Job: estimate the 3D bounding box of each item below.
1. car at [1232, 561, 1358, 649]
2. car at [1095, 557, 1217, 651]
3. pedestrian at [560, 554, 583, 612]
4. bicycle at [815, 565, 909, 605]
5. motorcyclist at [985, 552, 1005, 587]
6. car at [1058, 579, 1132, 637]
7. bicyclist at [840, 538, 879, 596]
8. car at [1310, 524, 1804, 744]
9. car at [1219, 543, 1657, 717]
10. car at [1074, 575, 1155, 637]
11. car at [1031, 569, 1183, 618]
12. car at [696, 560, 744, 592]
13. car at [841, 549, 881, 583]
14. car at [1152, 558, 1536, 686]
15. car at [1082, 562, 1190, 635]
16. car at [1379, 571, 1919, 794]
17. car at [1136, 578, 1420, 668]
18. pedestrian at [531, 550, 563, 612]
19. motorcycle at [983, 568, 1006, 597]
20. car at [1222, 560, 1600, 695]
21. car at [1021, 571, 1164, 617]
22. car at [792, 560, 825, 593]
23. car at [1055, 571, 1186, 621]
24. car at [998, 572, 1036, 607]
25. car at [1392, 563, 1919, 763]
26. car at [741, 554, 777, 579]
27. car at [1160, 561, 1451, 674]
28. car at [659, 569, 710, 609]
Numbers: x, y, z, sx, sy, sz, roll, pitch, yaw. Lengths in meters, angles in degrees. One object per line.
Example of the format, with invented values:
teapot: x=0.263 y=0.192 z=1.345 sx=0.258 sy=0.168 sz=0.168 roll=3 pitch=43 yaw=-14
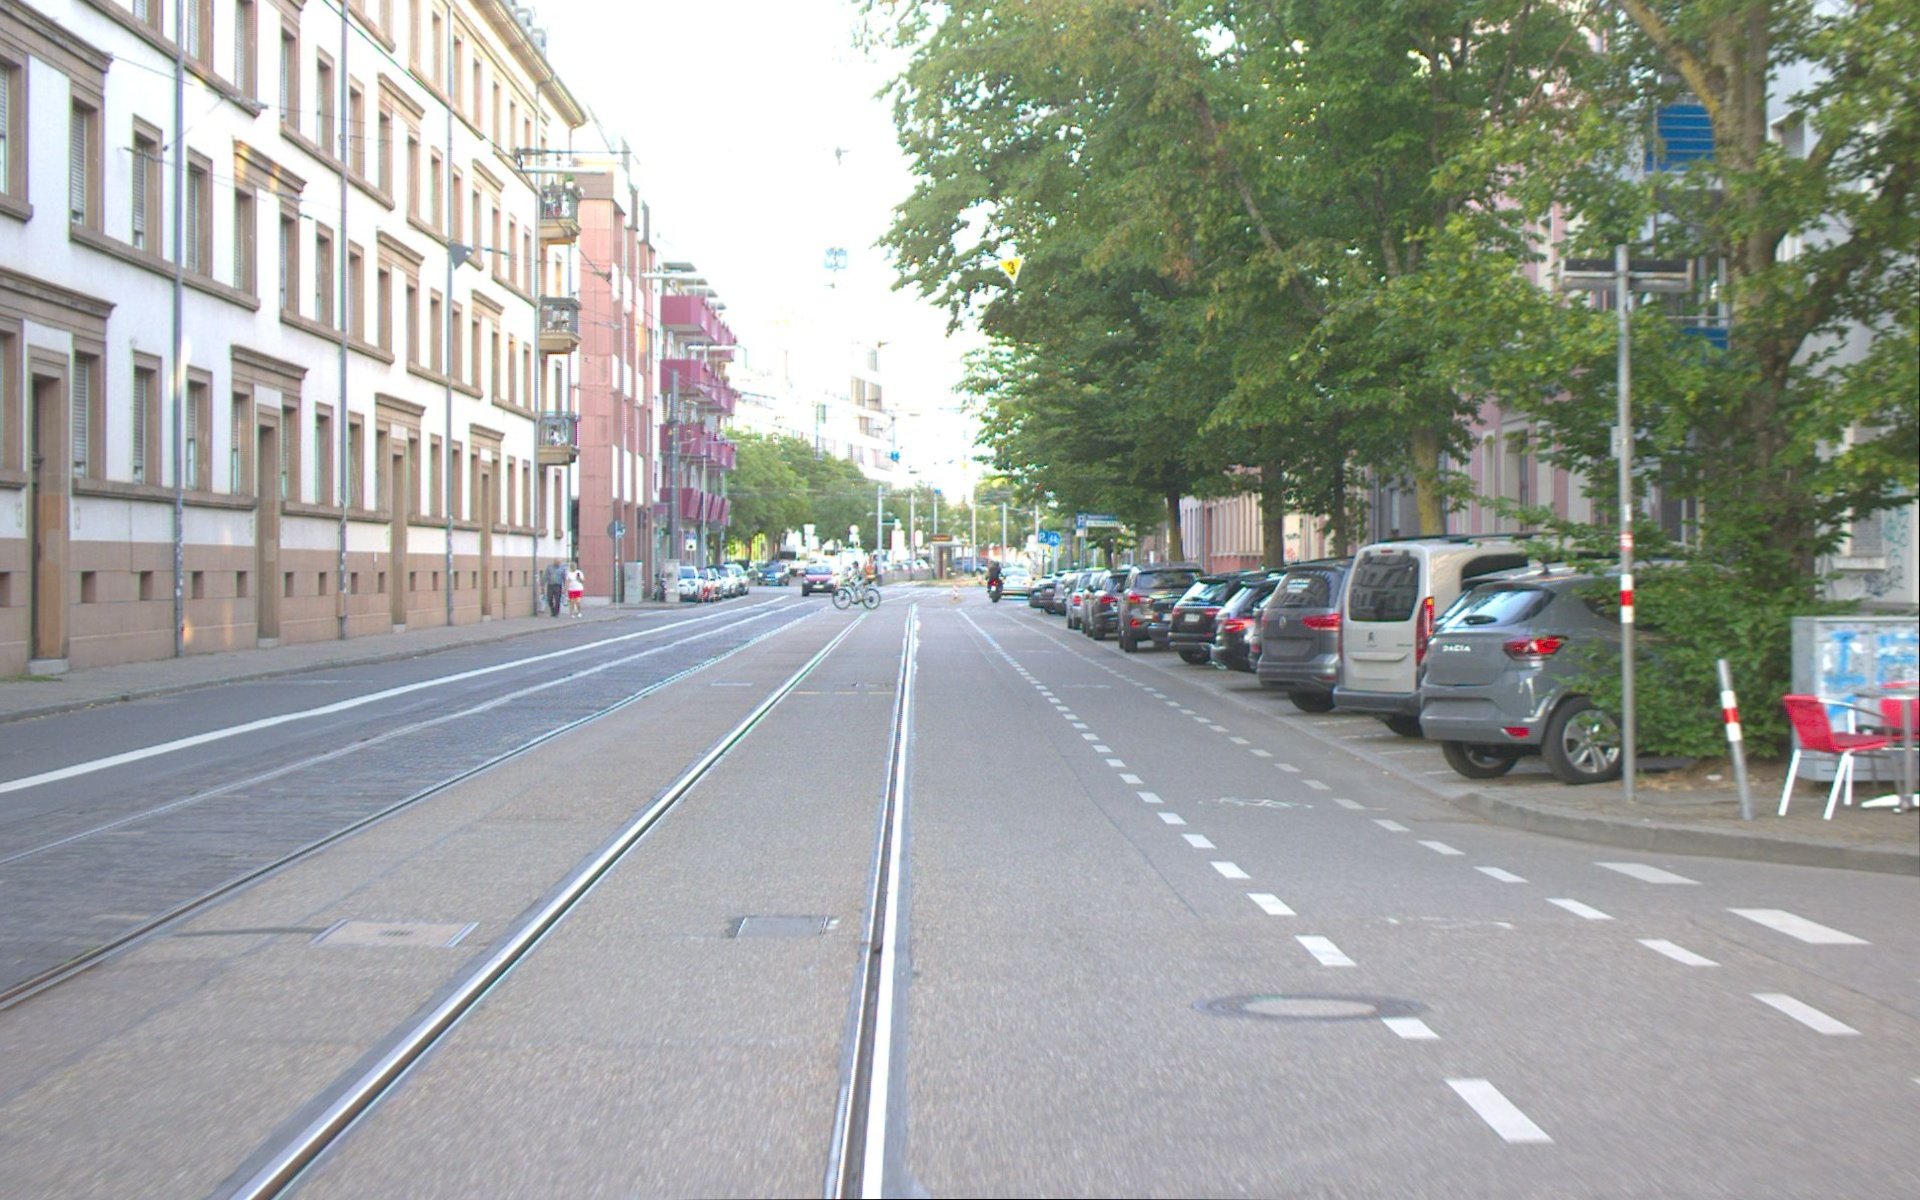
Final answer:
car: x=6.214 y=0.069 z=64.078 sx=1.879 sy=1.578 sz=4.021 roll=0 pitch=1 yaw=-1
car: x=3.606 y=0.051 z=63.964 sx=1.879 sy=1.612 sz=4.262 roll=-2 pitch=1 yaw=-1
pedestrian: x=-10.776 y=-0.478 z=95.423 sx=0.590 sy=1.604 sz=0.811 roll=0 pitch=0 yaw=-3
bicycle: x=-3.406 y=-0.521 z=119.603 sx=3.170 sy=1.349 sz=0.958 roll=0 pitch=0 yaw=-9
motorcyclist: x=1.492 y=-1.310 z=147.136 sx=0.828 sy=1.468 sz=1.207 roll=0 pitch=0 yaw=3
car: x=3.358 y=0.174 z=86.252 sx=1.619 sy=1.376 sz=3.776 roll=-2 pitch=0 yaw=-1
bicyclist: x=-3.495 y=-1.157 z=119.582 sx=1.214 sy=2.007 sz=0.947 roll=-1 pitch=1 yaw=-9
car: x=5.355 y=0.260 z=30.893 sx=3.986 sy=1.809 sz=1.825 roll=-2 pitch=1 yaw=-22
car: x=5.024 y=0.278 z=36.192 sx=4.177 sy=1.690 sz=1.847 roll=-1 pitch=1 yaw=-21
car: x=3.599 y=0.116 z=80.692 sx=1.780 sy=1.376 sz=4.691 roll=-2 pitch=0 yaw=2
car: x=4.779 y=-0.221 z=111.595 sx=4.443 sy=1.511 sz=2.064 roll=-1 pitch=1 yaw=-23
car: x=-11.192 y=-1.132 z=160.520 sx=1.691 sy=1.409 sz=4.676 roll=2 pitch=0 yaw=2
car: x=-7.167 y=-2.460 z=248.898 sx=2.461 sy=2.474 sz=5.808 roll=0 pitch=1 yaw=3
car: x=4.732 y=0.239 z=42.438 sx=4.376 sy=1.459 sz=1.720 roll=-1 pitch=1 yaw=-18
car: x=3.699 y=-0.048 z=73.110 sx=1.993 sy=1.484 sz=5.036 roll=-1 pitch=0 yaw=0
car: x=5.280 y=0.570 z=25.244 sx=3.986 sy=1.535 sz=1.780 roll=0 pitch=1 yaw=-20
car: x=5.039 y=0.347 z=54.464 sx=4.248 sy=1.383 sz=1.621 roll=0 pitch=1 yaw=-26
pedestrian: x=-11.480 y=-0.527 z=95.591 sx=0.795 sy=1.696 sz=0.981 roll=0 pitch=0 yaw=-3
motorcycle: x=1.480 y=-0.761 z=147.179 sx=0.828 sy=1.236 sz=2.491 roll=0 pitch=1 yaw=3
car: x=5.234 y=0.290 z=39.953 sx=3.986 sy=1.459 sz=1.720 roll=-1 pitch=1 yaw=-18
car: x=4.533 y=-0.213 z=117.558 sx=4.604 sy=1.452 sz=1.711 roll=-2 pitch=1 yaw=-25
car: x=-7.259 y=-1.147 z=164.991 sx=1.559 sy=1.553 sz=3.755 roll=-1 pitch=1 yaw=-2
car: x=4.838 y=-0.127 z=103.754 sx=3.554 sy=1.424 sz=1.669 roll=-1 pitch=1 yaw=-25
car: x=2.672 y=-0.509 z=161.074 sx=1.717 sy=1.550 sz=4.204 roll=1 pitch=1 yaw=1
car: x=5.744 y=0.487 z=28.343 sx=3.986 sy=1.561 sz=1.720 roll=0 pitch=1 yaw=-22
car: x=-14.159 y=-2.366 z=242.509 sx=1.683 sy=1.694 sz=4.238 roll=0 pitch=1 yaw=8
car: x=5.156 y=0.237 z=51.335 sx=3.960 sy=1.548 sz=1.720 roll=-1 pitch=2 yaw=-18
car: x=-11.233 y=-0.446 z=140.558 sx=1.717 sy=1.550 sz=4.204 roll=2 pitch=0 yaw=0
